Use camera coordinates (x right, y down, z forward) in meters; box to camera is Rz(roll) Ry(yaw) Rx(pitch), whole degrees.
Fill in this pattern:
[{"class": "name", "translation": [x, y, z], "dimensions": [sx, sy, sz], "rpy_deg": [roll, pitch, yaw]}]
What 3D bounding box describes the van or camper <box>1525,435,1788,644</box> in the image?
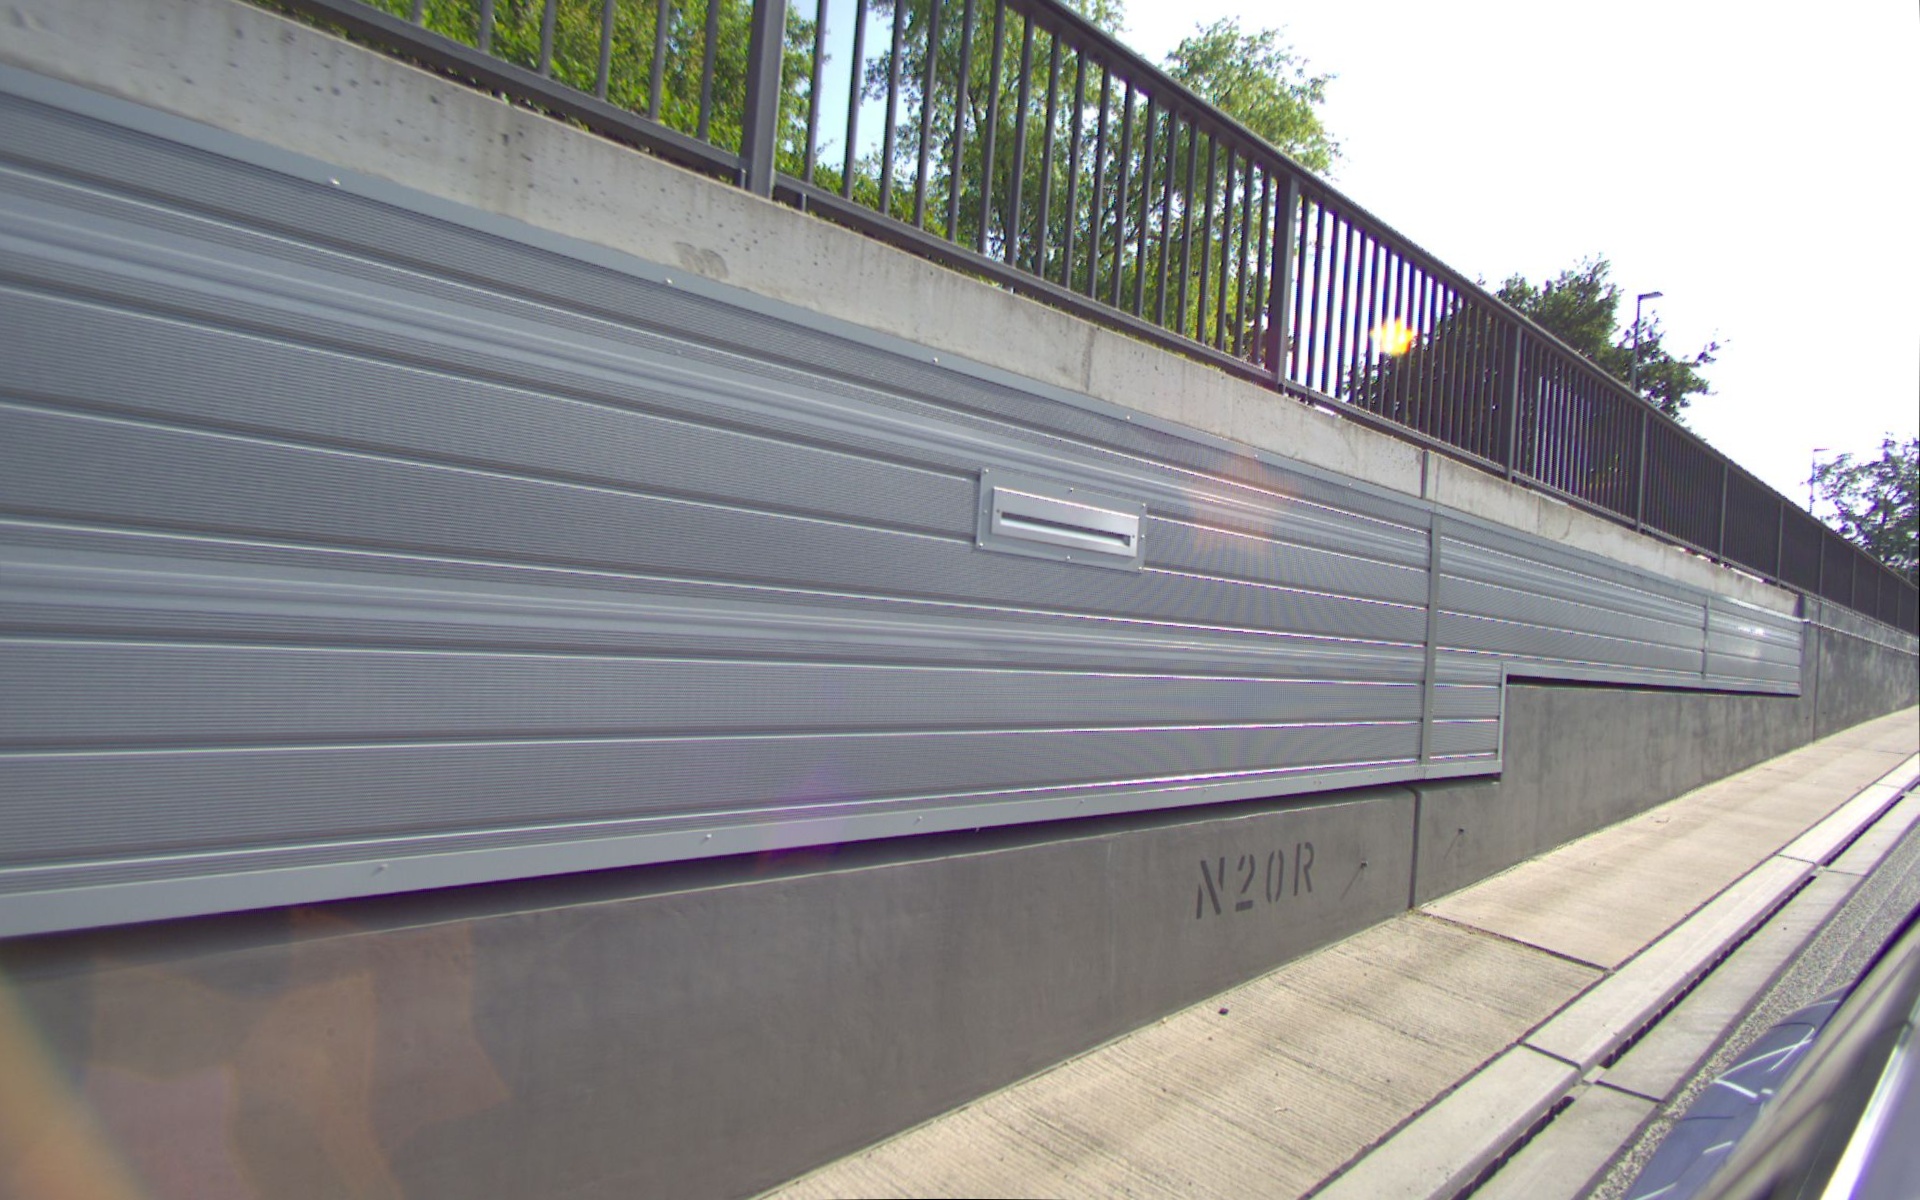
[{"class": "van or camper", "translation": [10.980, -0.694, 15.706], "dimensions": [5.954, 2.504, 1.989], "rpy_deg": [5, -3, -41]}]
